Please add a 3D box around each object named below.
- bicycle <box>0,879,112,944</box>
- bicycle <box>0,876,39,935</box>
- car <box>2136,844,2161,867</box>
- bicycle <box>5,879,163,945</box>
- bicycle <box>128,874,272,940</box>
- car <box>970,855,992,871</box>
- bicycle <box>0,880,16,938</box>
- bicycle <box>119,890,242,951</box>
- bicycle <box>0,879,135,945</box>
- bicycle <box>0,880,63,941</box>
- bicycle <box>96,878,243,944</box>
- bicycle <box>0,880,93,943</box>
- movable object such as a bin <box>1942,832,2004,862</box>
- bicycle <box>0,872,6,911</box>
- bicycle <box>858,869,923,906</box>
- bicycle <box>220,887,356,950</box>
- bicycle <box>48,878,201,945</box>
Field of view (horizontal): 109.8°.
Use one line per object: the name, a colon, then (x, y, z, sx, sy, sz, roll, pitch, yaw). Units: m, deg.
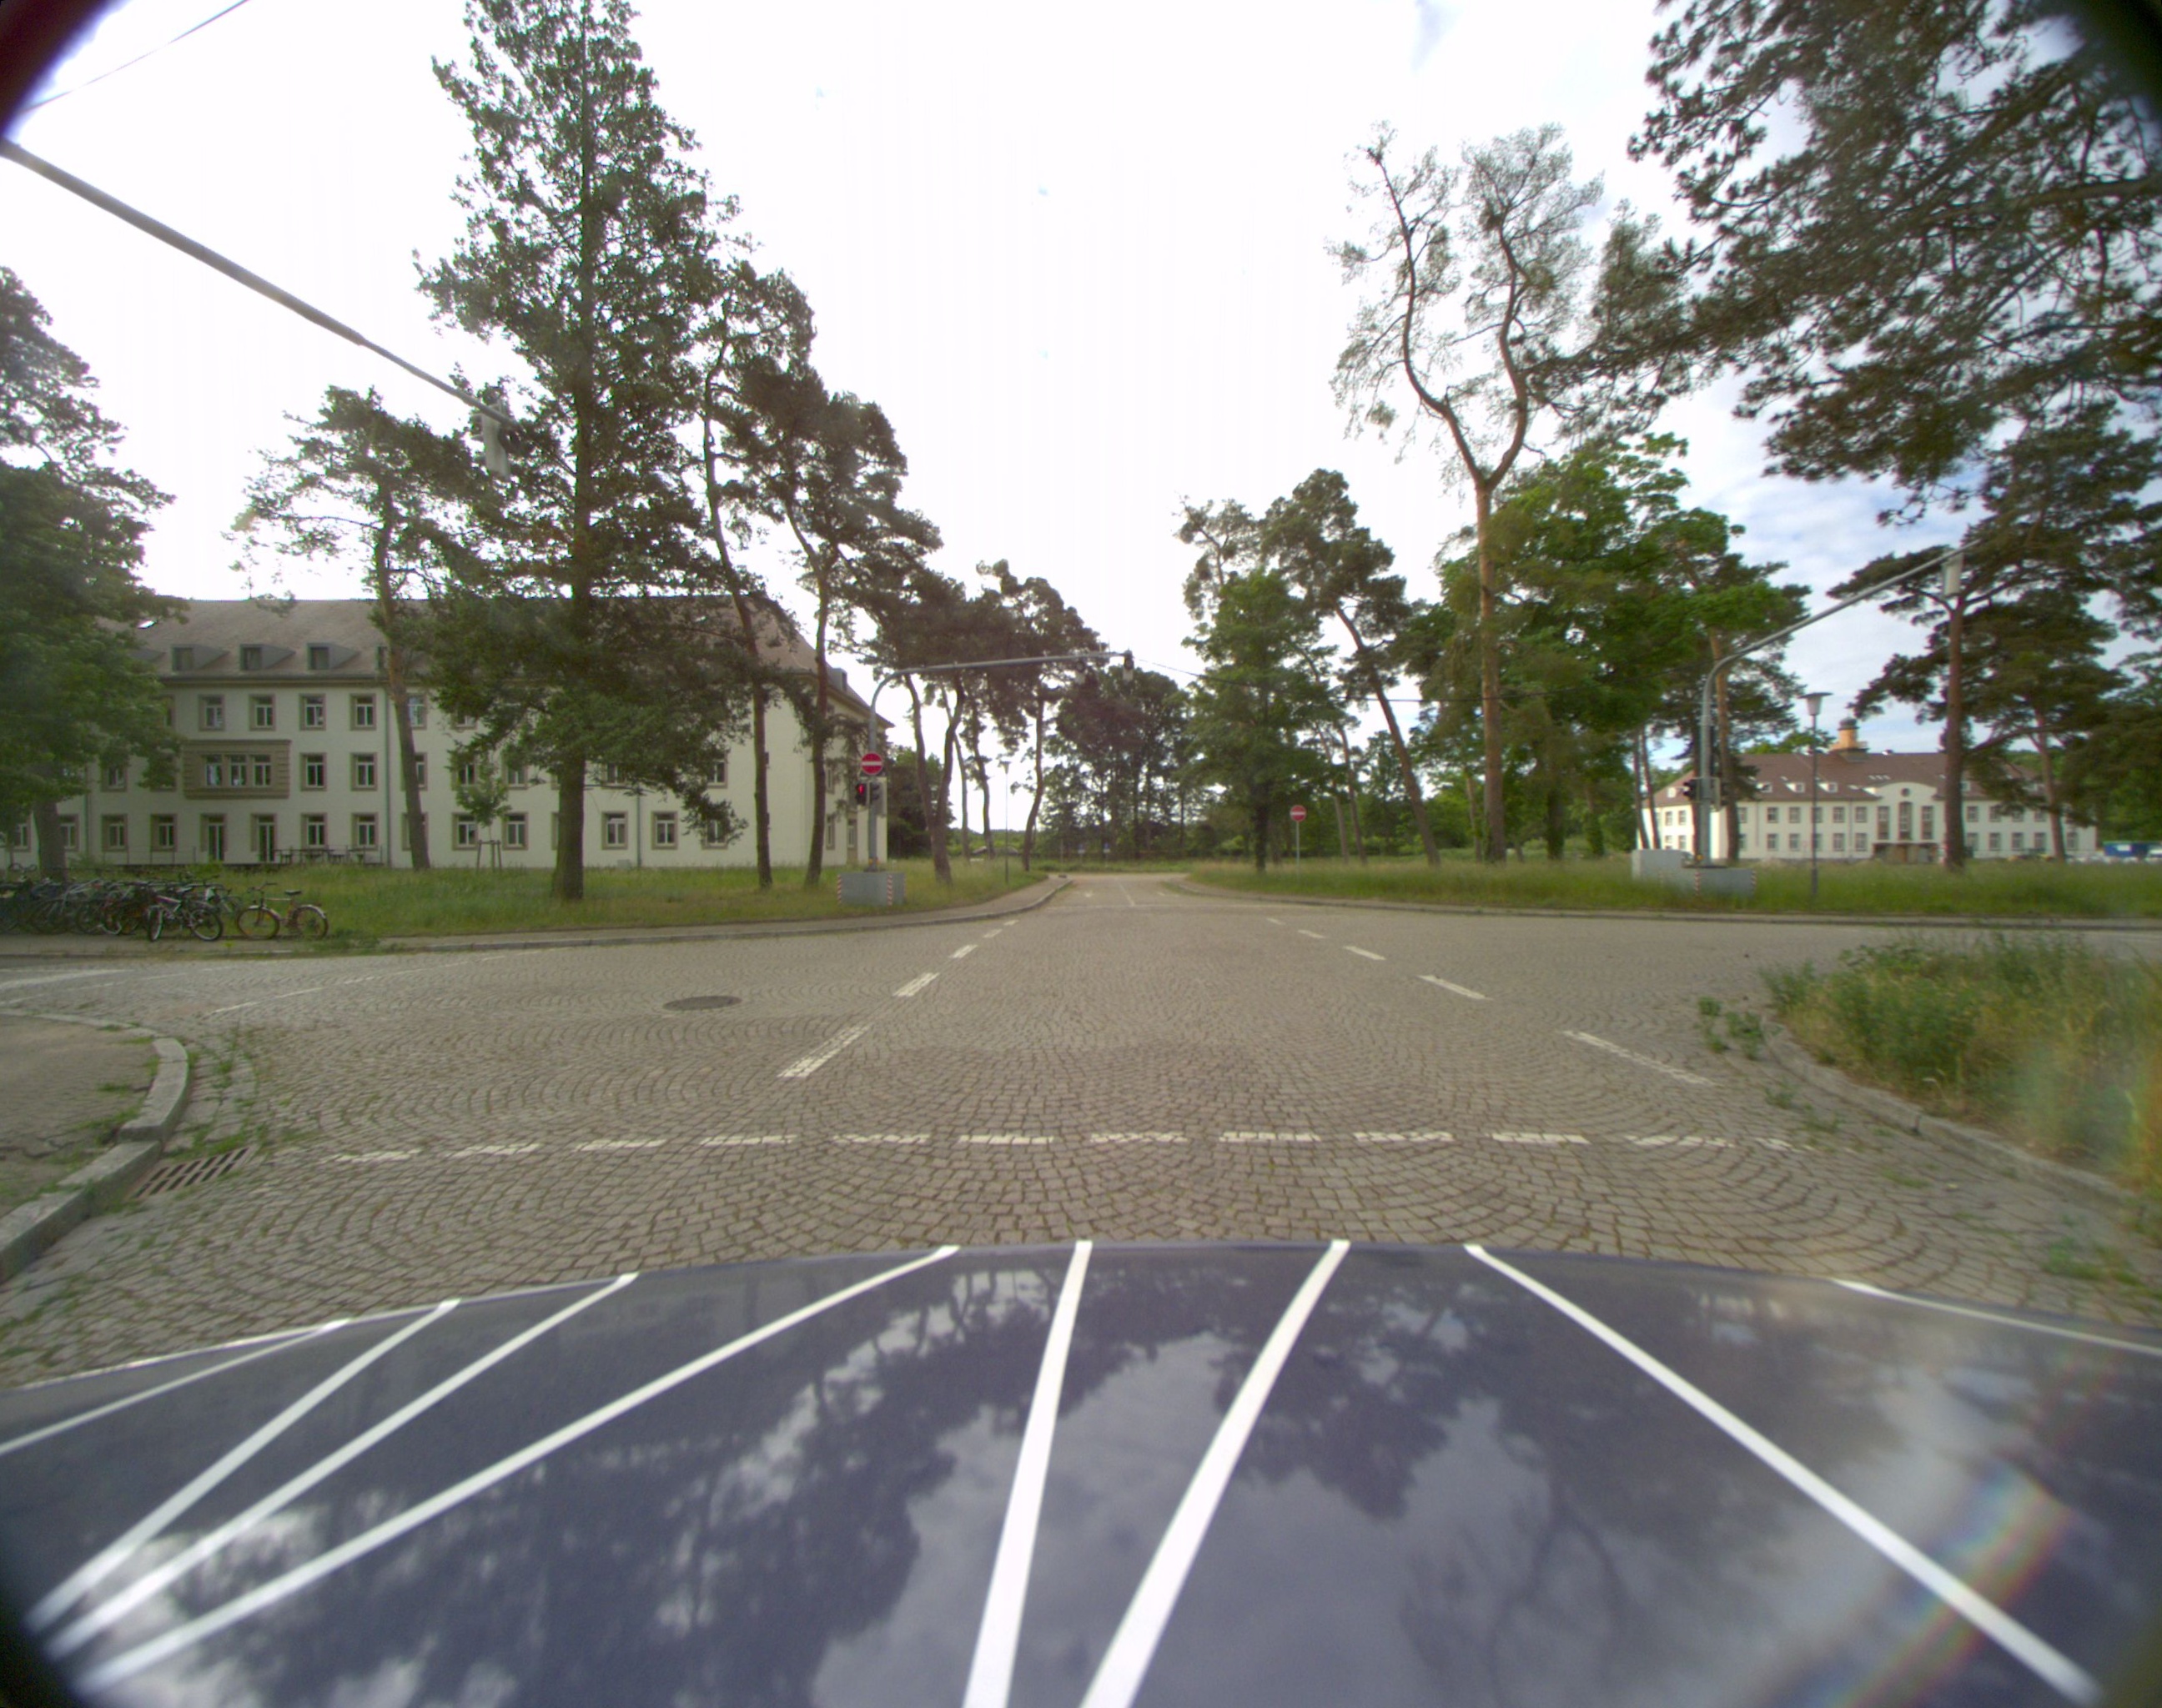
bicycle: (-21.601, 1.165, 15.694, 0.624, 1.240, 1.989, -1, -1, 0)
bicycle: (-23.194, 1.090, 15.680, 0.624, 1.240, 1.989, -1, -1, 0)
car: (113.407, 0.168, 79.067, 4.443, 2.350, 1.864, -1, 0, 2)
bicycle: (-20.445, 1.150, 15.653, 0.624, 1.240, 1.989, -1, -1, 0)
bicycle: (-18.033, 1.041, 15.629, 0.624, 1.240, 1.989, -1, -1, 0)
car: (-9.375, 0.872, 71.659, 1.487, 1.428, 3.196, -1, -1, 3)
bicycle: (-23.687, 1.190, 15.672, 0.624, 1.240, 1.989, -1, -1, 0)
bicycle: (-16.671, 1.224, 14.088, 1.675, 1.076, 0.624, -1, 0, 6)
bicycle: (-21.077, 1.158, 15.670, 0.624, 1.240, 1.989, -1, -1, 0)
bicycle: (-22.679, 1.178, 15.694, 0.624, 1.240, 1.989, -1, -1, 0)
bicycle: (-18.660, 1.127, 15.639, 0.624, 1.240, 1.989, -1, -1, 0)
bicycle: (-21.960, 1.168, 15.644, 0.624, 1.240, 1.989, -1, -1, 0)
movable object such as a bin: (116.417, -0.882, 99.276, 2.050, 3.747, 5.467, -1, -1, 6)
bicycle: (-31.370, 1.073, 21.225, 0.400, 1.118, 1.554, 0, 0, 4)
bicycle: (-5.378, 0.942, 21.523, 1.675, 0.965, 0.582, 1, 3, 6)
bicycle: (-14.716, 1.185, 14.123, 1.986, 1.107, 0.624, -1, 0, 5)
bicycle: (-19.586, 1.139, 15.640, 0.624, 1.240, 1.989, -1, -1, 0)
